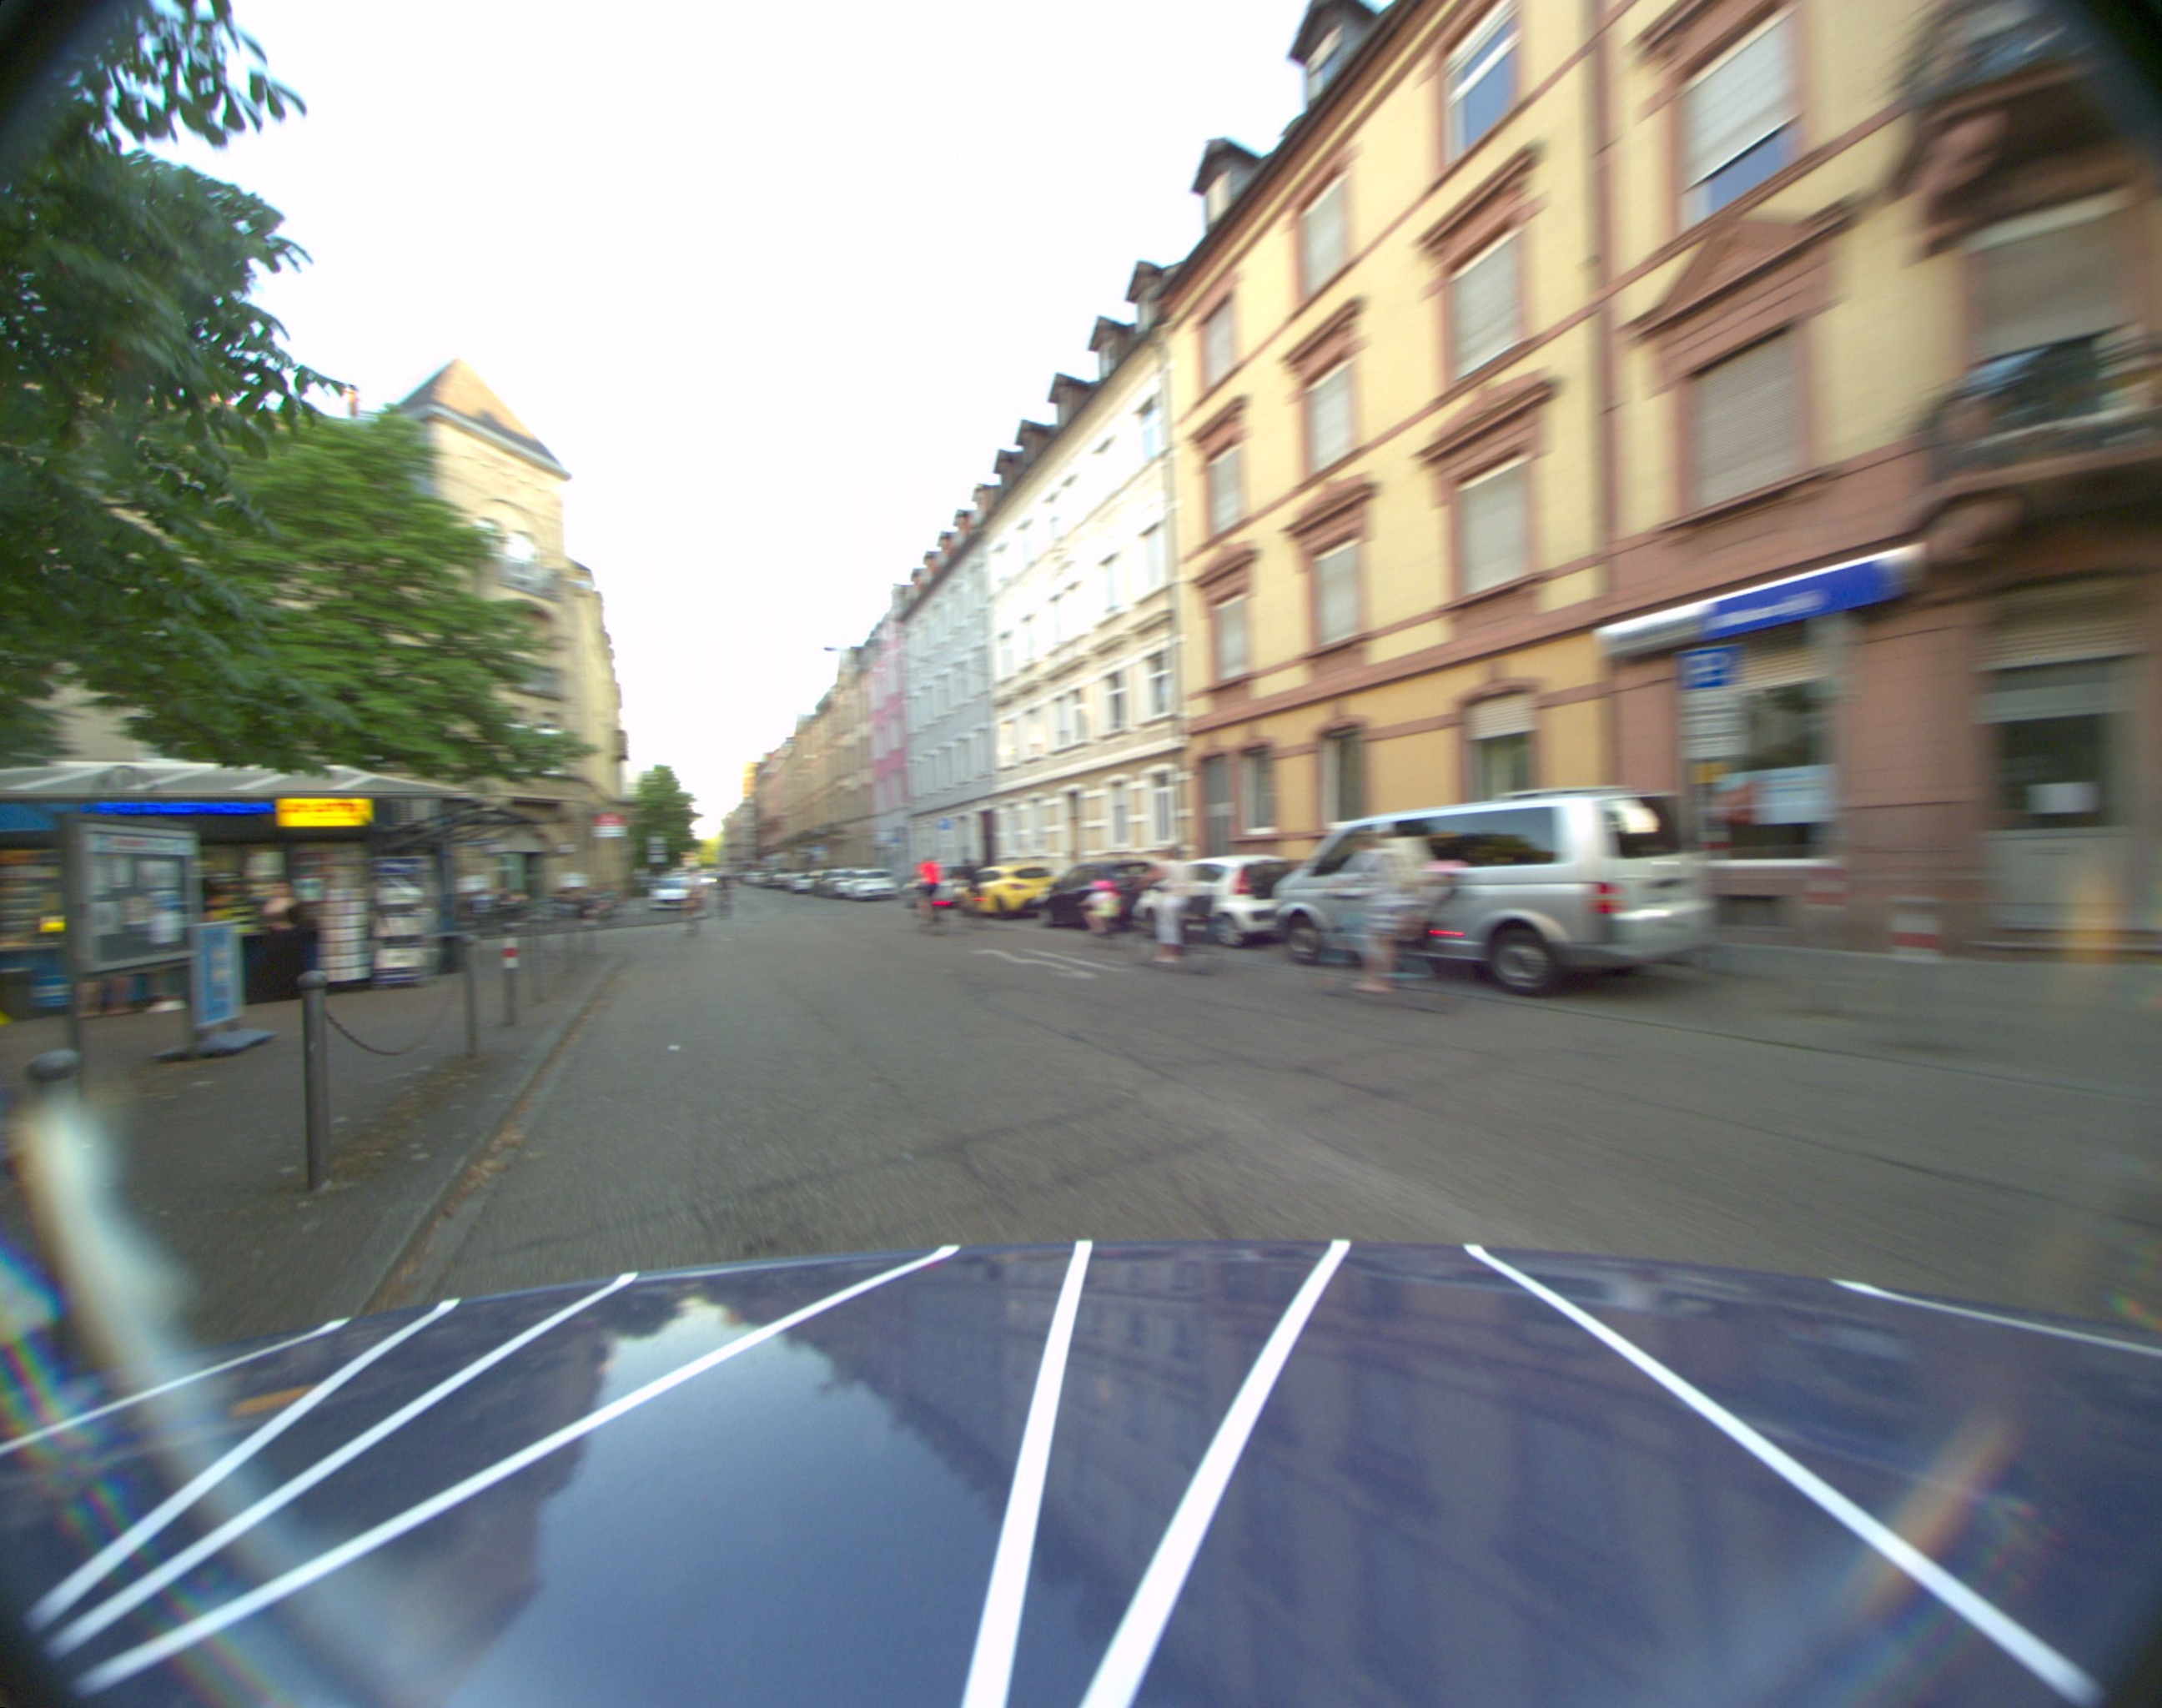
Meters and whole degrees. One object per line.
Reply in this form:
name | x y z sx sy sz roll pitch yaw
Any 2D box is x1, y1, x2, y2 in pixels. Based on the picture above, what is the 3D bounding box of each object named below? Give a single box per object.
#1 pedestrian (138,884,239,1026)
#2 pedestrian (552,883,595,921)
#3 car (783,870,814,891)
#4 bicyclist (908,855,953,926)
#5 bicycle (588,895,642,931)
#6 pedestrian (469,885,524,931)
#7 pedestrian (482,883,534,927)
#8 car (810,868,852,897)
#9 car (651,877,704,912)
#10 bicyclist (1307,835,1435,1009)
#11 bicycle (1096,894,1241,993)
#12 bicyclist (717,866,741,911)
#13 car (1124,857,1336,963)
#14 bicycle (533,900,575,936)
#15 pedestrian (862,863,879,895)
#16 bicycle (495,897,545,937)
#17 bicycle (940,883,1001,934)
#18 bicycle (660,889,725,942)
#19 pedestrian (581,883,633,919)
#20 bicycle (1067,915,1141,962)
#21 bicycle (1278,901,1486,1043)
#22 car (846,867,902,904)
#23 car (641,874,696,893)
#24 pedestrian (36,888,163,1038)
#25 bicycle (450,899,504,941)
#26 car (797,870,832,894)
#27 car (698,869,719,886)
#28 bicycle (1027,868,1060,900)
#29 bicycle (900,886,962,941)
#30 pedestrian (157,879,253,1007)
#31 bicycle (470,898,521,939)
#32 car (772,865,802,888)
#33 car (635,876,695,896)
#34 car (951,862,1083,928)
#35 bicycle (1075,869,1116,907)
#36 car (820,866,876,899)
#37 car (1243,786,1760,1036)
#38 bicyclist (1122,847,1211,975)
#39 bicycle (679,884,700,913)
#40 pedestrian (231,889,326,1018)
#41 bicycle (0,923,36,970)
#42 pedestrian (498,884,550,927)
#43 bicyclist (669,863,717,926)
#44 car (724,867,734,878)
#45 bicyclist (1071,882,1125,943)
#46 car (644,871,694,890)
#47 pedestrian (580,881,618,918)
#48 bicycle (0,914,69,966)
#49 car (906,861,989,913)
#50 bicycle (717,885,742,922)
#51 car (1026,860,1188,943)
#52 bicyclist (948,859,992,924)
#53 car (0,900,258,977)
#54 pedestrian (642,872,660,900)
pedestrian | -10.926 1.204 9.310 0.589 1.627 0.679 -2 1 33
pedestrian | -18.851 1.778 28.248 1.009 1.388 0.898 -2 -2 21
car | -23.592 2.222 63.416 1.760 1.467 4.271 -8 2 -27
bicyclist | -3.362 0.795 16.918 0.655 1.517 0.865 -2 0 -32
bicycle | -15.044 1.897 24.576 0.431 1.033 1.478 -2 0 22
pedestrian | -19.234 1.769 25.009 0.840 1.389 1.105 -1 2 14
pedestrian | -19.732 1.741 26.175 0.840 1.389 1.105 -1 2 14
car | -15.450 1.734 46.856 1.761 1.583 4.049 -5 1 -27
car | -18.578 1.822 35.132 1.771 1.475 4.456 1 -2 -23
bicyclist | 2.779 0.610 7.319 0.679 1.536 0.873 -2 0 -29
bicycle | 1.102 1.123 10.115 0.730 1.088 2.043 -2 0 -34
bicyclist | -12.230 1.195 26.432 0.687 1.503 0.971 -2 0 -23
car | 2.474 0.885 13.413 1.691 1.483 3.606 -4 1 -28
bicycle | -16.188 1.938 23.367 0.448 0.974 1.703 -2 0 -14
pedestrian | -13.221 1.567 47.651 0.853 1.937 0.832 -2 0 -23
bicycle | -16.986 1.900 23.033 0.513 1.060 1.832 -2 0 -14
bicycle | -2.725 1.298 18.480 0.724 1.101 2.010 -2 0 -31
bicycle | -9.637 1.498 18.952 0.686 1.144 2.114 -2 0 -6
pedestrian | -17.930 1.760 28.765 0.839 1.278 1.421 -1 0 20
bicycle | 0.362 1.420 12.993 0.652 0.639 1.461 -2 0 -25
bicycle | 2.811 1.044 7.299 0.686 1.088 1.805 -2 0 -29
car | -10.083 1.489 36.850 1.761 1.567 3.919 -5 1 -27
car | -37.603 2.686 69.416 4.310 1.519 1.819 -2 0 -27
pedestrian | -11.455 1.233 8.897 0.679 1.627 0.589 -2 1 -28
bicycle | -17.929 1.940 22.605 0.503 1.105 1.832 -2 0 -14
car | -19.463 2.034 55.359 1.760 1.467 4.049 -8 2 -26
car | -42.228 2.684 86.091 1.961 1.729 4.276 -5 1 -27
bicycle | -1.413 1.111 28.156 0.482 1.133 1.860 -2 0 -26
bicycle | -3.376 1.287 16.978 0.652 1.101 2.010 -2 0 -32
pedestrian | -11.867 1.168 10.312 0.679 1.627 0.589 -2 1 -35
bicycle | -17.386 1.901 22.611 0.476 1.064 1.832 -2 0 -14
car | -27.863 2.138 71.952 1.877 1.949 4.283 -6 1 -28
car | -34.862 2.688 63.796 4.310 1.443 1.819 -2 0 -27
car | -1.965 1.107 21.707 1.847 1.517 4.791 -5 1 -29
bicycle | 0.439 1.079 24.461 0.482 1.133 1.860 -2 0 -26
car | -12.701 1.529 41.281 1.841 1.583 4.662 -5 1 -29
car | 4.398 0.483 9.020 2.050 2.045 4.994 -4 1 -27
bicyclist | 1.123 0.720 10.060 0.728 1.574 0.873 -2 0 -34
bicycle | -16.181 1.826 31.438 0.687 1.144 2.111 1 -2 -26
pedestrian | -10.172 1.223 9.636 0.589 1.530 0.679 -2 1 33
bicycle | -26.407 2.270 18.388 0.592 1.071 1.830 -2 0 -30
pedestrian | -19.058 1.743 26.014 0.840 1.389 1.105 -1 2 14
bicyclist | -9.655 0.994 18.945 0.686 1.503 0.972 -2 0 -6
car | -80.837 4.231 174.640 1.760 2.265 4.049 -8 2 -26
bicyclist | 0.287 0.999 13.114 0.649 0.971 0.729 -2 0 -26
car | -41.252 2.635 76.151 4.310 1.666 1.819 -2 0 -27
pedestrian | -18.603 1.752 29.358 0.841 1.388 1.103 -1 -1 -9
bicycle | -26.002 2.106 18.721 0.592 1.131 1.830 -2 0 -30
car | -4.888 1.136 27.444 1.807 1.583 4.137 -5 1 -25
bicycle | -12.216 1.698 26.438 0.687 1.144 2.111 -2 0 -24
car | 0.444 0.963 16.665 1.737 1.483 3.734 -4 1 -31
bicyclist | -2.688 0.891 18.388 0.717 1.517 0.865 -2 0 -30
car | -22.448 1.926 17.667 4.042 1.376 1.881 -2 0 -25
pedestrian | -27.248 2.028 48.177 0.853 1.756 0.832 -1 0 -23
